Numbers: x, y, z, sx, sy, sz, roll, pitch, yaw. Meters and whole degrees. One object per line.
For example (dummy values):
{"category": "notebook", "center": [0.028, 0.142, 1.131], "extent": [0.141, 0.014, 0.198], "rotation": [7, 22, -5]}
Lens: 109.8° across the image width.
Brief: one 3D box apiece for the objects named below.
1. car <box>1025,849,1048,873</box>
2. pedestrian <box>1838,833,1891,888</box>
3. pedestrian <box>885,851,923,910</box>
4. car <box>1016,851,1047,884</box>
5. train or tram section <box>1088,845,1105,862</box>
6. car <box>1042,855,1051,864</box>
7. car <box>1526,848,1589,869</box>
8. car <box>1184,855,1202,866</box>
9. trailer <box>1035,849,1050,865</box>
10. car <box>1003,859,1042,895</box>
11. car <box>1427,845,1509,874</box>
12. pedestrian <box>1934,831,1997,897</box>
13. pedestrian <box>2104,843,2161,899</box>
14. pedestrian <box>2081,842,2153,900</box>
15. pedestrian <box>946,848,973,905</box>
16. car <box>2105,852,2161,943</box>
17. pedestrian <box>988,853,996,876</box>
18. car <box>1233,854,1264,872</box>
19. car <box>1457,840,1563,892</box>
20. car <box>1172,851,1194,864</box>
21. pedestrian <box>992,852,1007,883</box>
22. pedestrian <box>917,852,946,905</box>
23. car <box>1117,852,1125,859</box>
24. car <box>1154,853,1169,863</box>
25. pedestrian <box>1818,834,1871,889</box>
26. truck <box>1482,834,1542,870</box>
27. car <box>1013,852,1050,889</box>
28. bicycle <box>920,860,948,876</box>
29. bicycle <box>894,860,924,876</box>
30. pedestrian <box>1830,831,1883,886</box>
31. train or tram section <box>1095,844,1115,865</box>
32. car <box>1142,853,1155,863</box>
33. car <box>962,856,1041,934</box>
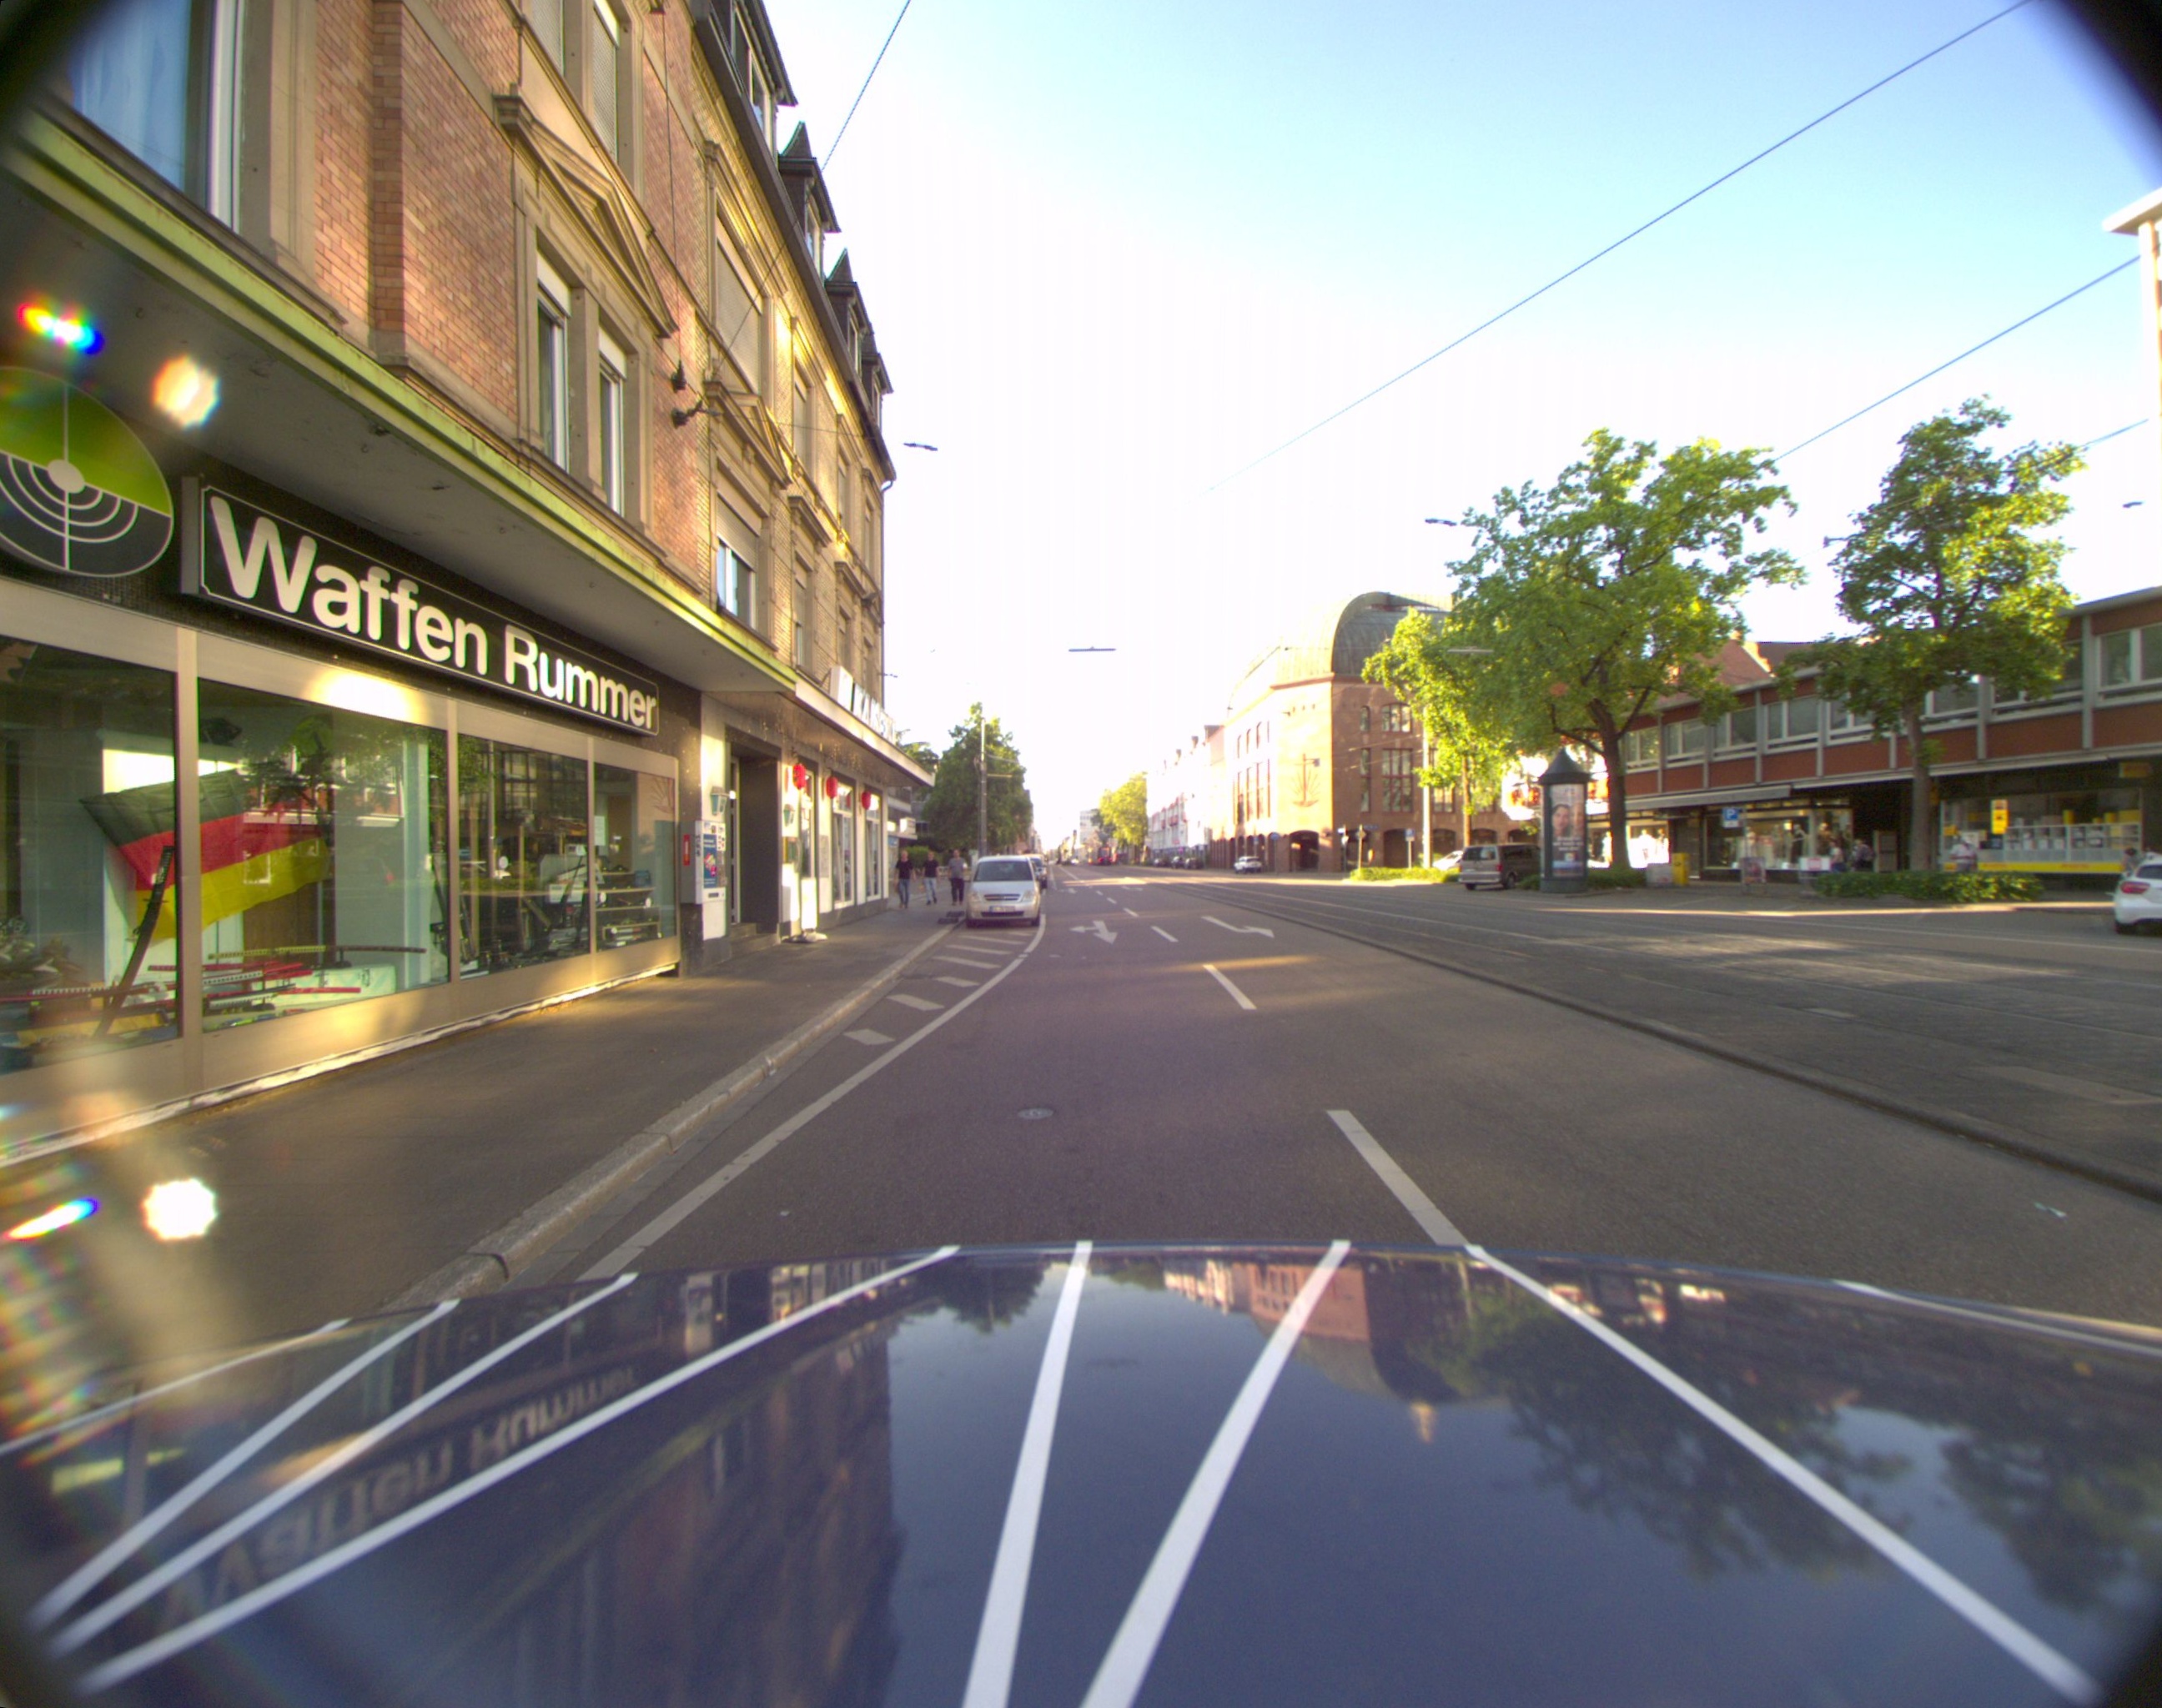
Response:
{"category": "car", "center": [-4.052, 0.620, 69.915], "extent": [1.882, 2.009, 4.904], "rotation": [-2, 0, -2]}
{"category": "pedestrian", "center": [27.341, 0.218, 26.527], "extent": [0.919, 1.867, 0.900], "rotation": [-1, 1, -5]}
{"category": "pedestrian", "center": [-5.355, 0.785, 23.054], "extent": [0.903, 1.703, 1.032], "rotation": [2, 0, -3]}
{"category": "car", "center": [-2.908, 0.759, 45.254], "extent": [1.680, 1.797, 4.247], "rotation": [-2, 0, -3]}
{"category": "train or tram section", "center": [3.234, -0.127, 161.393], "extent": [2.766, 3.530, 12.463], "rotation": [0, 0, -3]}
{"category": "car", "center": [-5.709, 0.868, 124.489], "extent": [1.420, 1.425, 3.871], "rotation": [-2, 0, -3]}
{"category": "car", "center": [38.036, 0.366, 60.758], "extent": [1.856, 1.564, 4.528], "rotation": [-1, 0, -7]}
{"category": "car", "center": [14.339, 0.811, 97.514], "extent": [1.646, 1.392, 3.682], "rotation": [-2, 0, -2]}
{"category": "trailer", "center": [-5.324, 0.441, 104.843], "extent": [1.784, 2.136, 5.315], "rotation": [-2, 0, 0]}
{"category": "car", "center": [-2.675, 1.030, 35.217], "extent": [1.642, 1.484, 3.793], "rotation": [-3, 0, -4]}
{"category": "car", "center": [28.535, 0.411, 56.136], "extent": [4.993, 1.957, 2.130], "rotation": [-1, 3, -4]}
{"category": "pedestrian", "center": [25.743, 0.289, 22.137], "extent": [0.917, 1.867, 0.902], "rotation": [0, 1, 26]}
{"category": "pedestrian", "center": [28.086, 0.445, 20.156], "extent": [0.689, 1.462, 0.900], "rotation": [-1, 0, -5]}
{"category": "pedestrian", "center": [27.375, 0.435, 20.096], "extent": [0.689, 1.488, 0.900], "rotation": [-1, 0, -5]}
{"category": "pedestrian", "center": [-4.087, 0.759, 25.683], "extent": [0.796, 1.888, 1.032], "rotation": [0, 1, -3]}
{"category": "car", "center": [20.643, 0.750, 14.068], "extent": [4.276, 1.421, 1.762], "rotation": [-3, 1, -33]}
{"category": "pedestrian", "center": [-6.780, 0.811, 57.763], "extent": [0.494, 1.703, 0.437], "rotation": [2, 1, -3]}
{"category": "car", "center": [15.523, 0.793, 70.667], "extent": [1.600, 1.581, 4.276], "rotation": [-3, 0, -4]}
{"category": "car", "center": [18.588, 0.468, 32.849], "extent": [5.130, 1.918, 1.849], "rotation": [-3, 2, -34]}
{"category": "car", "center": [13.961, 0.444, 104.326], "extent": [1.964, 1.690, 4.559], "rotation": [-2, 0, -4]}
{"category": "pedestrian", "center": [-4.710, 0.780, 43.878], "extent": [0.789, 1.727, 0.945], "rotation": [-1, 1, -3]}
{"category": "pedestrian", "center": [-4.980, 0.804, 25.359], "extent": [0.813, 1.746, 1.032], "rotation": [0, 1, -3]}
{"category": "car", "center": [11.036, 0.307, 207.942], "extent": [1.861, 1.914, 3.999], "rotation": [0, 0, -1]}
{"category": "car", "center": [13.037, 0.615, 123.170], "extent": [1.829, 1.500, 4.559], "rotation": [-2, 0, -2]}
{"category": "pedestrian", "center": [26.524, 0.255, 26.411], "extent": [0.919, 1.867, 0.900], "rotation": [-1, 1, -5]}
{"category": "truck", "center": [34.238, -0.160, 60.524], "extent": [1.856, 2.747, 4.528], "rotation": [-1, 0, -7]}
{"category": "car", "center": [-2.584, 0.832, 40.548], "extent": [1.825, 1.747, 4.473], "rotation": [-2, 1, -3]}
{"category": "bicycle", "center": [-10.390, 1.002, 53.607], "extent": [1.886, 1.090, 0.469], "rotation": [0, 1, -4]}
{"category": "bicycle", "center": [-11.932, 0.973, 52.699], "extent": [2.020, 1.089, 0.637], "rotation": [1, 0, -9]}
{"category": "pedestrian", "center": [28.074, 0.171, 27.521], "extent": [0.996, 1.937, 0.900], "rotation": [-1, 1, -5]}
{"category": "train or tram section", "center": [4.285, 0.062, 138.589], "extent": [2.683, 3.530, 12.837], "rotation": [0, 0, -3]}
{"category": "car", "center": [12.298, 0.632, 139.033], "extent": [1.931, 1.787, 4.383], "rotation": [-1, 0, 1]}
{"category": "car", "center": [-1.817, 0.886, 18.193], "extent": [1.642, 1.605, 3.943], "rotation": [-1, 0, -4]}
